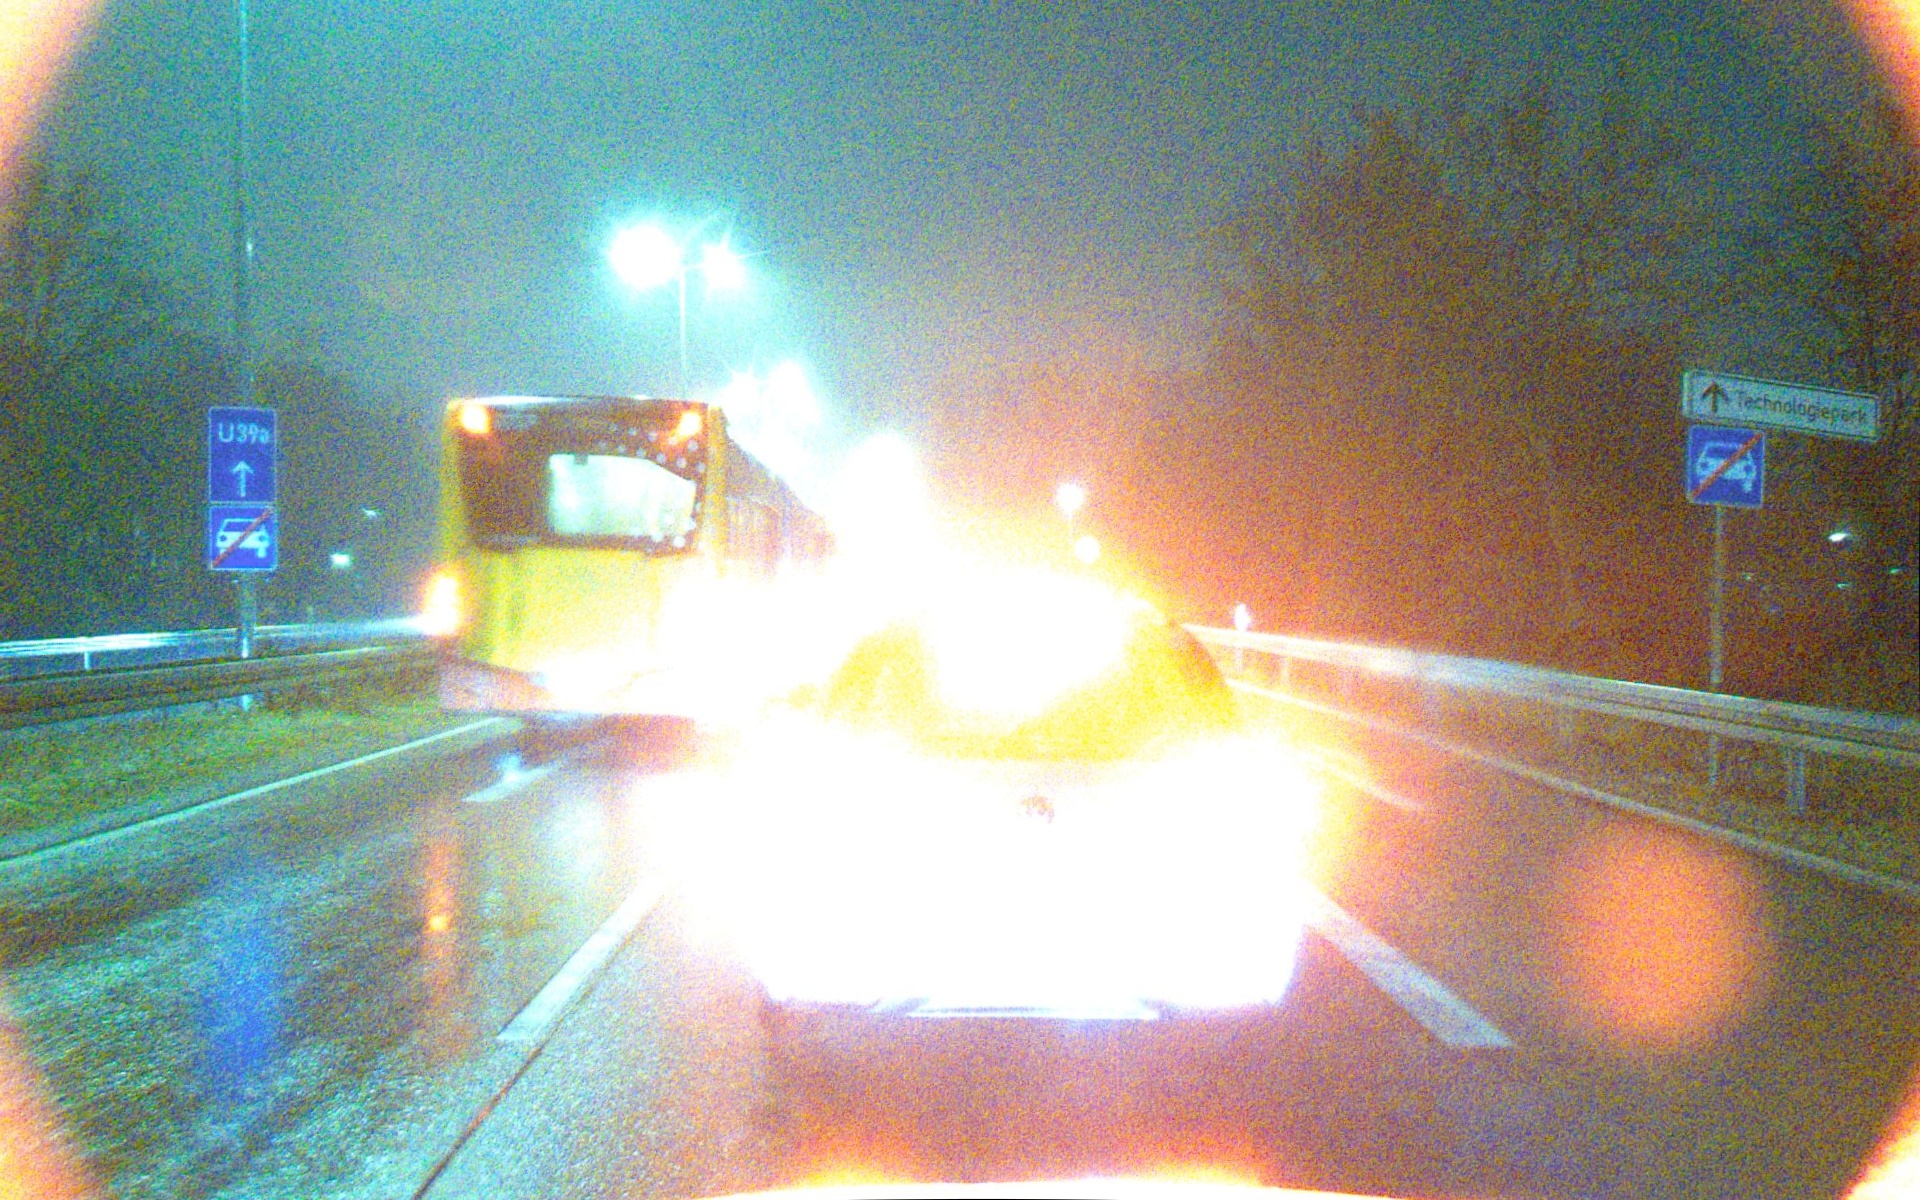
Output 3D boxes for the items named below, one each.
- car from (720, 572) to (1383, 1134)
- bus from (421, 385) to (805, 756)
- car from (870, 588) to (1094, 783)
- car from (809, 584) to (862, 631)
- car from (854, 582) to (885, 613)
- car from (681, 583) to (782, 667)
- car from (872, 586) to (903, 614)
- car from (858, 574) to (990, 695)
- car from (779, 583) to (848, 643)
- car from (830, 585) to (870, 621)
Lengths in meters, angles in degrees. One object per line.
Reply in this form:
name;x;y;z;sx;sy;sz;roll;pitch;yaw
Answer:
car;0.218;0.670;6.747;1.784;1.510;4.567;0;0;-1
bus;-3.289;-0.267;18.128;2.759;3.077;8.682;0;0;-3
car;0.062;0.635;14.991;1.697;1.474;4.722;1;0;-3
car;-4.406;0.245;58.962;1.744;1.570;3.873;1;0;-3
car;-6.287;-0.188;115.185;1.953;2.049;3.999;1;0;-1
car;-4.538;0.458;33.251;1.744;1.570;3.871;1;0;-4
car;-4.282;-0.016;98.508;1.743;1.570;3.874;1;0;-1
car;-0.589;0.452;23.901;1.705;1.592;3.773;1;0;-4
car;-4.009;0.322;45.661;1.744;1.570;3.872;1;0;-3
car;-4.940;0.121;73.958;1.744;1.570;3.871;1;0;-4
